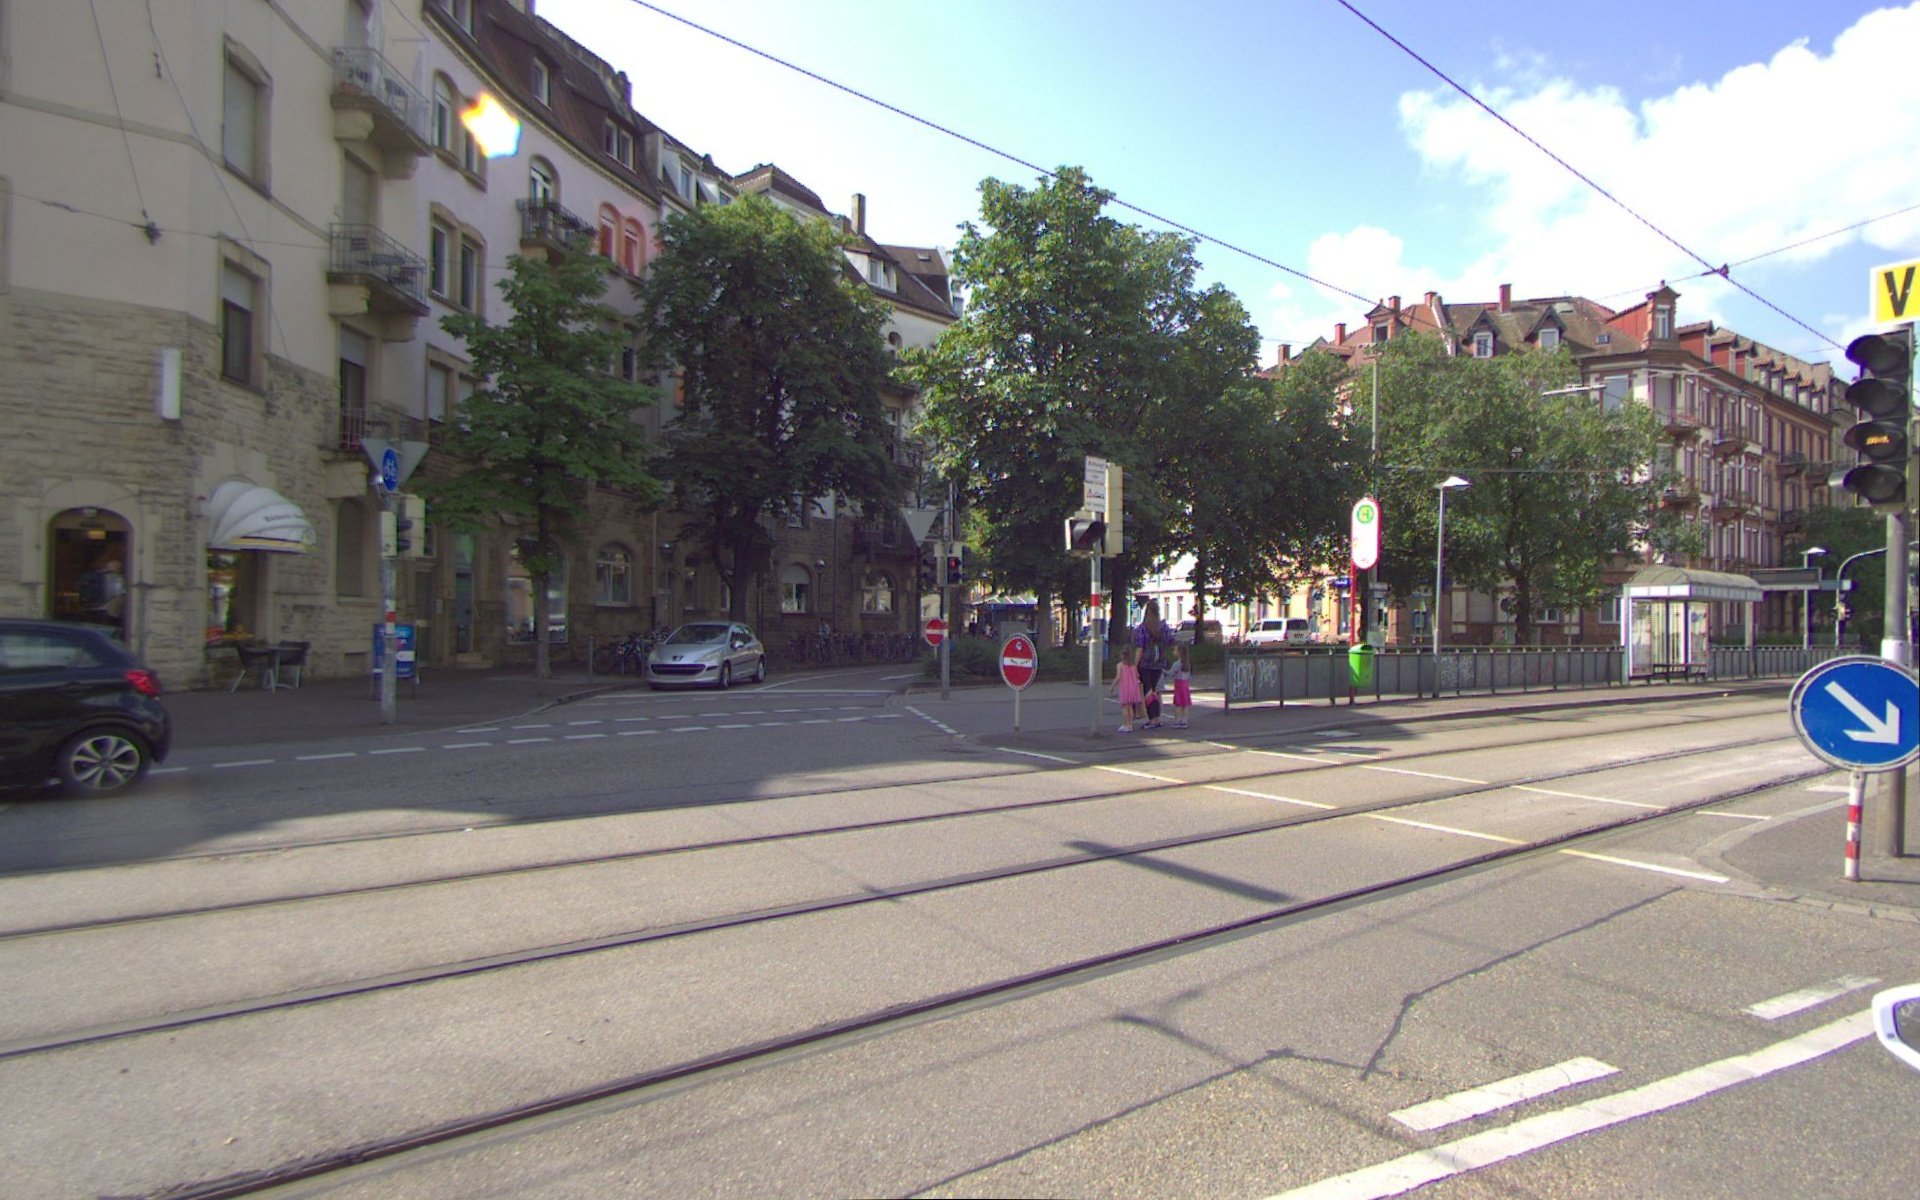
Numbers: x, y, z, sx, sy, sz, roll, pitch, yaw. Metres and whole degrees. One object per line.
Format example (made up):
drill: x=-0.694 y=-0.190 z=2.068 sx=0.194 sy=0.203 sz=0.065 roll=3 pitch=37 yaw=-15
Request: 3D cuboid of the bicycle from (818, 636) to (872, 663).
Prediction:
bicycle: x=-4.316 y=1.852 z=37.661 sx=1.993 sy=0.910 sz=0.571 roll=2 pitch=-1 yaw=25

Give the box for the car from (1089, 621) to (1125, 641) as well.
car: x=12.246 y=2.583 z=83.948 sx=1.688 sy=1.575 sz=3.910 roll=1 pitch=-1 yaw=-14

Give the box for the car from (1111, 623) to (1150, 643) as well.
car: x=13.434 y=2.597 z=79.275 sx=1.603 sy=1.513 sz=3.636 roll=1 pitch=-1 yaw=-15

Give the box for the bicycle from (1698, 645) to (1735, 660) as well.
bicycle: x=39.869 y=2.764 z=52.929 sx=1.677 sy=0.757 sz=0.386 roll=1 pitch=-1 yaw=0

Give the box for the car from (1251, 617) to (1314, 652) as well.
car: x=18.916 y=1.997 z=59.065 sx=1.824 sy=2.015 sz=3.939 roll=1 pitch=-1 yaw=-12

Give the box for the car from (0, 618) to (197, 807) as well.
car: x=-8.099 y=0.849 z=7.727 sx=3.411 sy=1.405 sz=1.610 roll=2 pitch=-3 yaw=-43

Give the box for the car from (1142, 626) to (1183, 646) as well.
car: x=14.885 y=2.650 z=74.009 sx=1.469 sy=1.411 sz=3.684 roll=1 pitch=-1 yaw=-15

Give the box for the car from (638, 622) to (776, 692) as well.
car: x=-5.592 y=1.224 z=22.693 sx=1.686 sy=1.439 sz=3.876 roll=0 pitch=-1 yaw=8

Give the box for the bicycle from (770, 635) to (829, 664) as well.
bicycle: x=-5.591 y=1.727 z=34.898 sx=1.991 sy=0.910 sz=0.546 roll=2 pitch=-1 yaw=20

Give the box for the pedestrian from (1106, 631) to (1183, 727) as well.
pedestrian: x=2.640 y=1.120 z=14.403 sx=0.712 sy=1.320 sz=0.819 roll=2 pitch=-4 yaw=-40

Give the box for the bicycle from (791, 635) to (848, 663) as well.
bicycle: x=-5.039 y=1.754 z=36.033 sx=1.991 sy=0.910 sz=0.572 roll=2 pitch=-1 yaw=21

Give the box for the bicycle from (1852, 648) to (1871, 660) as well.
bicycle: x=51.493 y=3.068 z=57.366 sx=1.692 sy=0.686 sz=0.383 roll=2 pitch=-1 yaw=-32

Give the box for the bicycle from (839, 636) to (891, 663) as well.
bicycle: x=-3.691 y=1.907 z=38.866 sx=1.993 sy=0.910 sz=0.571 roll=1 pitch=-1 yaw=27

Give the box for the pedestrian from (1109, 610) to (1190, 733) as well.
pedestrian: x=2.554 y=0.941 z=13.531 sx=0.793 sy=1.586 sz=0.722 roll=2 pitch=-2 yaw=-40

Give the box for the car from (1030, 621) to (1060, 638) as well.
car: x=8.368 y=2.902 z=99.336 sx=1.864 sy=1.694 sz=3.779 roll=1 pitch=-1 yaw=-14

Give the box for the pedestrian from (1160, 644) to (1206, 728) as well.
pedestrian: x=3.066 y=1.176 z=13.824 sx=0.420 sy=1.122 sz=0.434 roll=2 pitch=-4 yaw=-40

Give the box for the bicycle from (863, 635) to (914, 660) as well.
bicycle: x=-2.848 y=1.870 z=40.007 sx=1.993 sy=0.910 sz=0.571 roll=1 pitch=-1 yaw=27

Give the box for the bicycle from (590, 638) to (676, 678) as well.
bicycle: x=-8.112 y=1.427 z=24.928 sx=1.990 sy=0.894 sz=0.523 roll=2 pitch=-1 yaw=11

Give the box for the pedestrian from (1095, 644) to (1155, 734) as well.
pedestrian: x=2.165 y=1.145 z=13.175 sx=0.440 sy=1.128 sz=0.635 roll=2 pitch=-2 yaw=-40

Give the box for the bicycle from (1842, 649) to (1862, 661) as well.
bicycle: x=49.770 y=3.055 z=56.016 sx=1.692 sy=0.662 sz=0.383 roll=2 pitch=-1 yaw=-32

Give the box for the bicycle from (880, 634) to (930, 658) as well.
bicycle: x=-2.234 y=1.859 z=40.674 sx=1.993 sy=0.910 sz=0.571 roll=1 pitch=-1 yaw=27

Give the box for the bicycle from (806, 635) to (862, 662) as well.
bicycle: x=-4.632 y=1.769 z=36.924 sx=1.992 sy=0.910 sz=0.572 roll=2 pitch=-1 yaw=24

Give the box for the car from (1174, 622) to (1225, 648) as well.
car: x=16.350 y=2.354 z=68.681 sx=1.883 sy=1.685 sz=3.931 roll=1 pitch=-1 yaw=-13

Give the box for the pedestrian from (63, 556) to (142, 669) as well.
pedestrian: x=-13.306 y=0.199 z=15.620 sx=0.849 sy=1.695 sz=0.813 roll=1 pitch=-1 yaw=-37

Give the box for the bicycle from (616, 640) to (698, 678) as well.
bicycle: x=-7.917 y=1.528 z=26.265 sx=1.990 sy=0.894 sz=0.512 roll=2 pitch=-1 yaw=11
